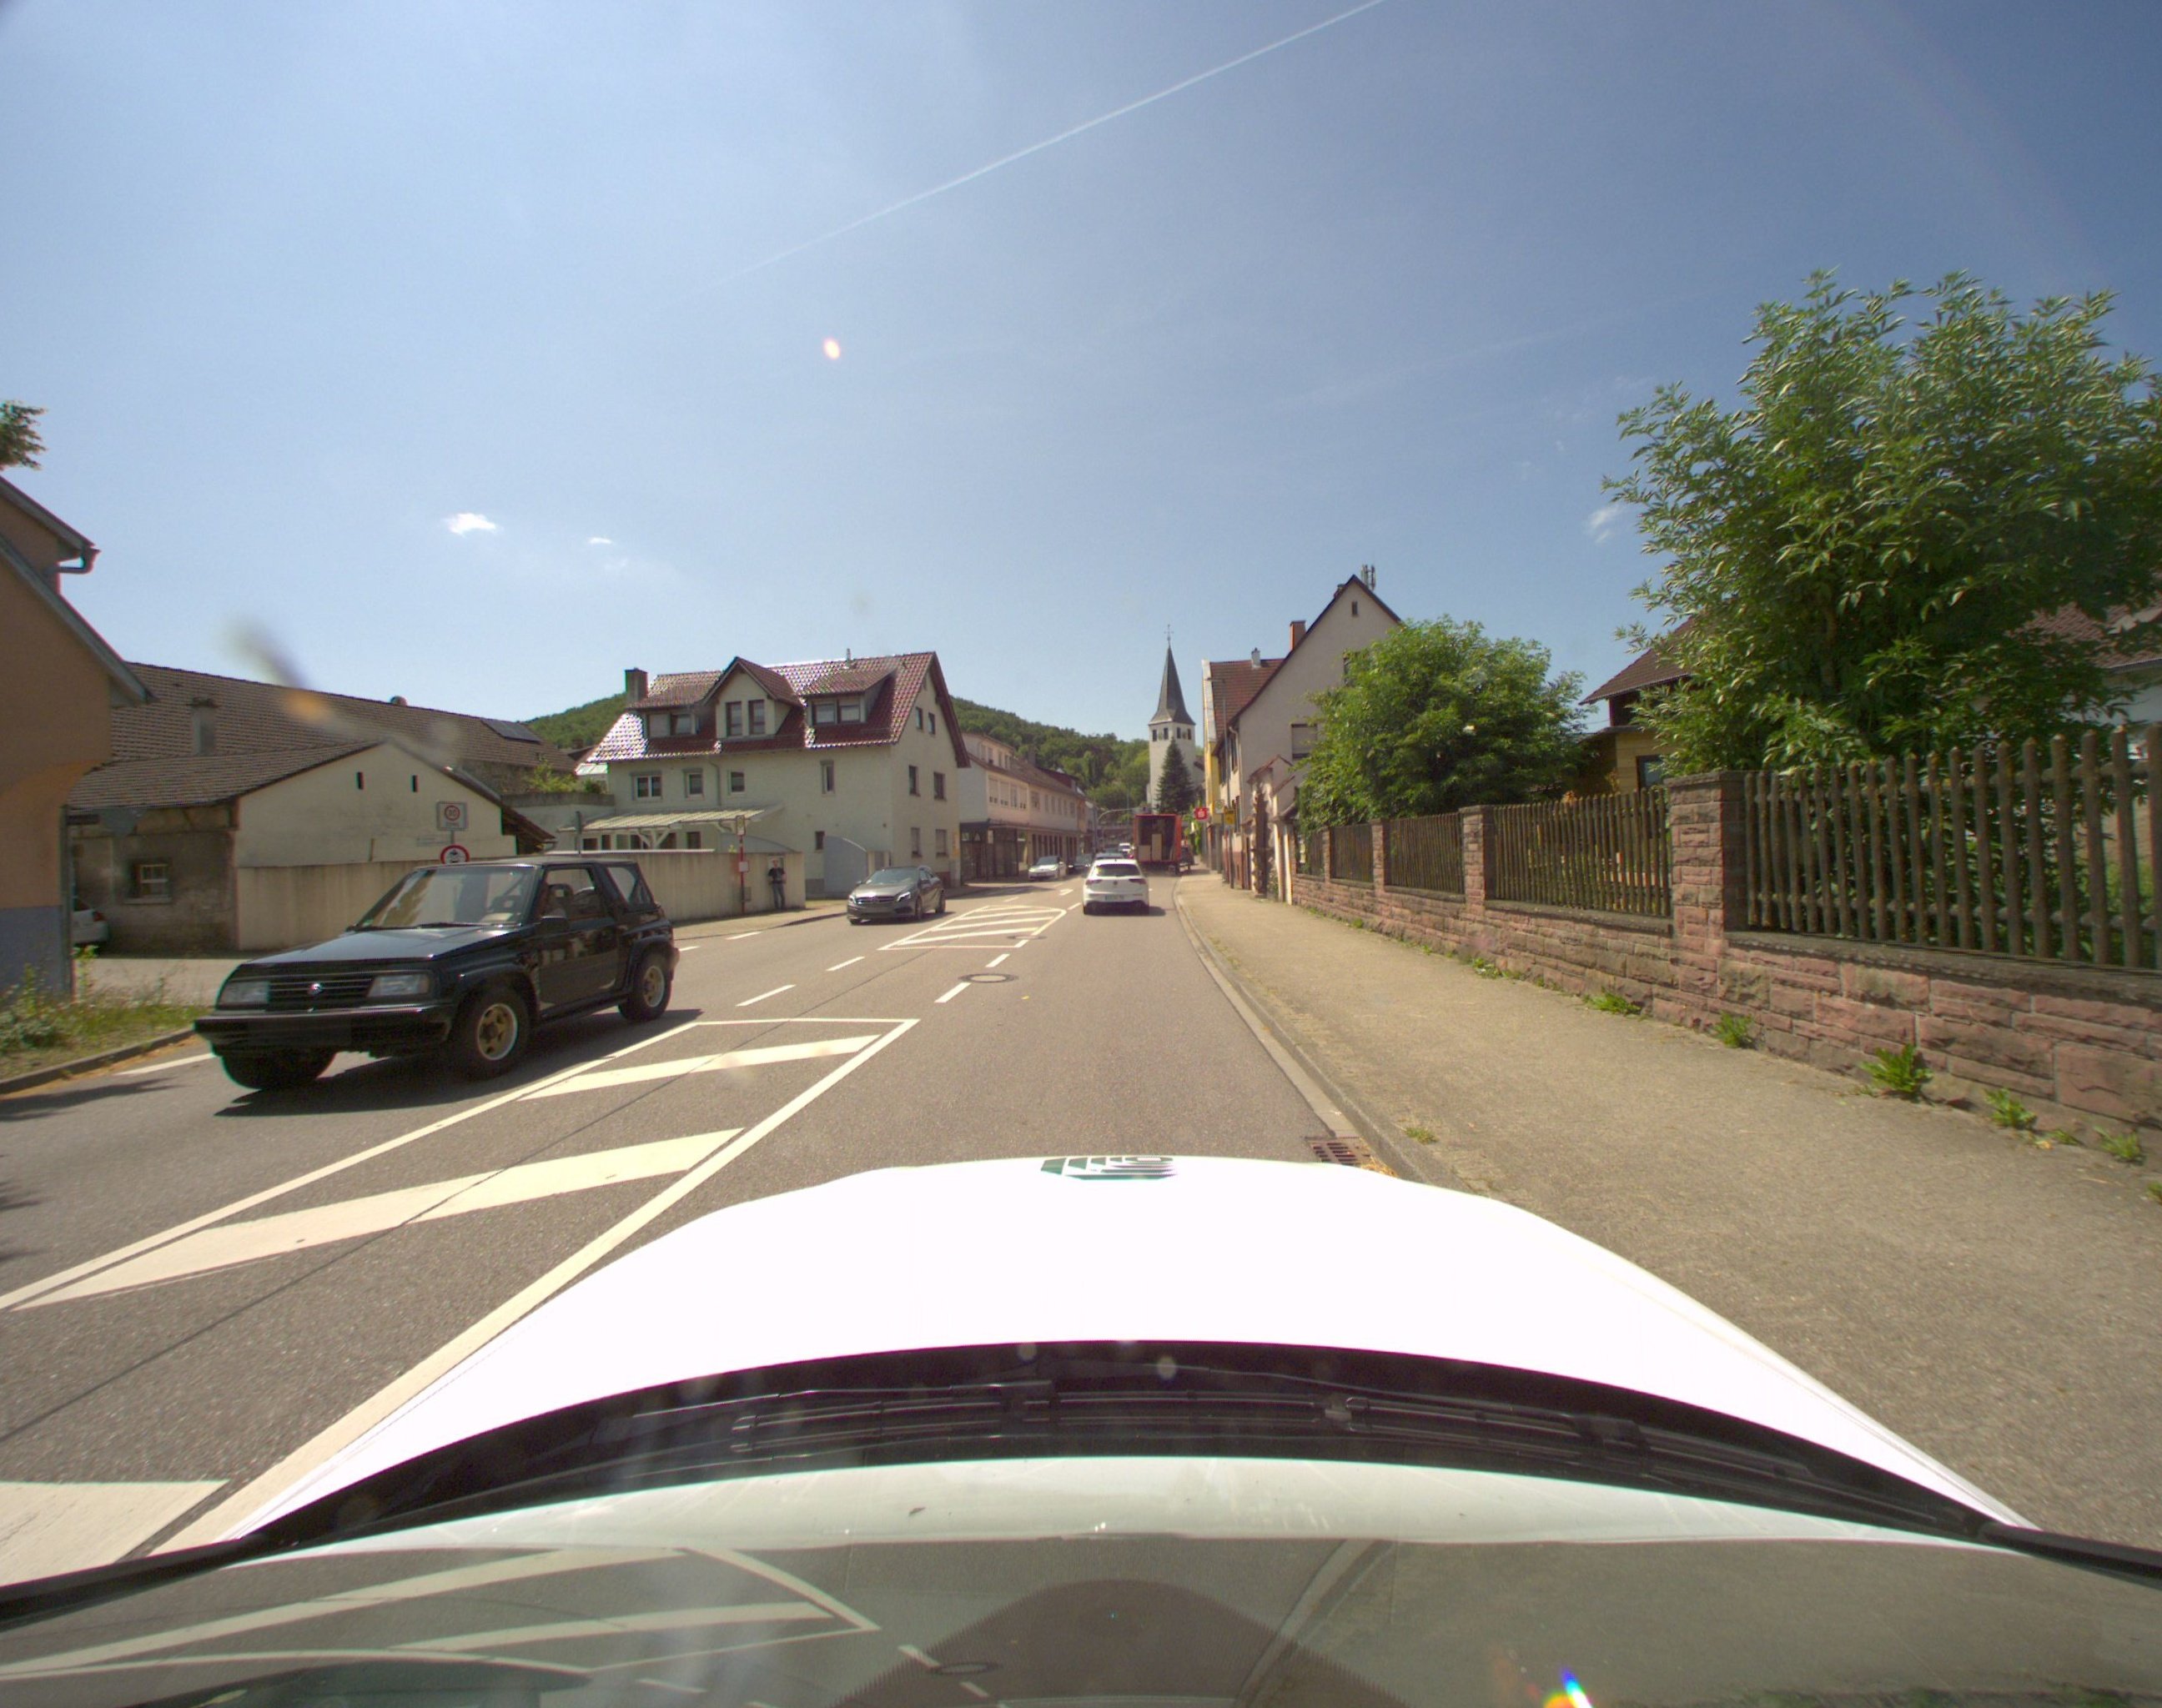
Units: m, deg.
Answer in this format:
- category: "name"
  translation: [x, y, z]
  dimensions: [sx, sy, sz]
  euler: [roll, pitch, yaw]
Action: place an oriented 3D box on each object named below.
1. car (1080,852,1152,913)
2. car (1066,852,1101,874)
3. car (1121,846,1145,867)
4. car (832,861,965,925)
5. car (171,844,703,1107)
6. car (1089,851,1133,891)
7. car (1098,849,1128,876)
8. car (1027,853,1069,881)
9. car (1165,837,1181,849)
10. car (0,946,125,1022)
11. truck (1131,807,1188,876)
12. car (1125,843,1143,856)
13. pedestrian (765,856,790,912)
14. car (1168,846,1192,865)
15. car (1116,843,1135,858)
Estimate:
- category: "car"
  translation: [0.993, 0.758, 22.684]
  dimensions: [1.807, 1.519, 4.003]
  euler: [-1, -1, 3]
- category: "car"
  translation: [0.243, 0.683, 62.120]
  dimensions: [1.782, 1.493, 4.434]
  euler: [-3, -1, 11]
- category: "car"
  translation: [4.200, 0.234, 66.002]
  dimensions: [1.807, 1.519, 4.003]
  euler: [-3, -1, 3]
- category: "car"
  translation: [-4.789, 0.978, 22.041]
  dimensions: [1.851, 1.442, 4.231]
  euler: [-3, -1, 12]
- category: "car"
  translation: [-5.058, 0.789, 7.159]
  dimensions: [1.734, 1.651, 3.667]
  euler: [-2, 0, -1]
- category: "car"
  translation: [1.391, 0.762, 37.141]
  dimensions: [1.807, 1.629, 4.003]
  euler: [-3, -1, 3]
- category: "car"
  translation: [2.155, 0.539, 53.958]
  dimensions: [1.807, 1.629, 4.003]
  euler: [-3, -1, 3]
- category: "car"
  translation: [-1.957, 0.785, 49.164]
  dimensions: [1.786, 1.508, 4.142]
  euler: [-3, -1, 7]
- category: "car"
  translation: [12.534, -1.472, 110.881]
  dimensions: [1.807, 1.519, 4.003]
  euler: [-3, -1, 3]
- category: "car"
  translation: [-25.944, 3.104, 19.816]
  dimensions: [3.958, 1.464, 1.816]
  euler: [-2, 1, 14]
- category: "truck"
  translation: [5.385, -0.753, 55.805]
  dimensions: [3.350, 4.170, 9.533]
  euler: [-3, -1, 5]
- category: "car"
  translation: [7.381, -0.665, 113.402]
  dimensions: [1.982, 1.651, 4.010]
  euler: [-3, -1, 9]
- category: "pedestrian"
  translation: [-9.867, 0.970, 26.477]
  dimensions: [0.430, 1.764, 0.560]
  euler: [-3, 0, 22]
- category: "car"
  translation: [8.583, 0.148, 70.785]
  dimensions: [1.807, 1.519, 4.003]
  euler: [-3, -1, 3]
- category: "car"
  translation: [5.512, -0.474, 100.721]
  dimensions: [1.791, 1.779, 4.717]
  euler: [-3, 0, 9]
